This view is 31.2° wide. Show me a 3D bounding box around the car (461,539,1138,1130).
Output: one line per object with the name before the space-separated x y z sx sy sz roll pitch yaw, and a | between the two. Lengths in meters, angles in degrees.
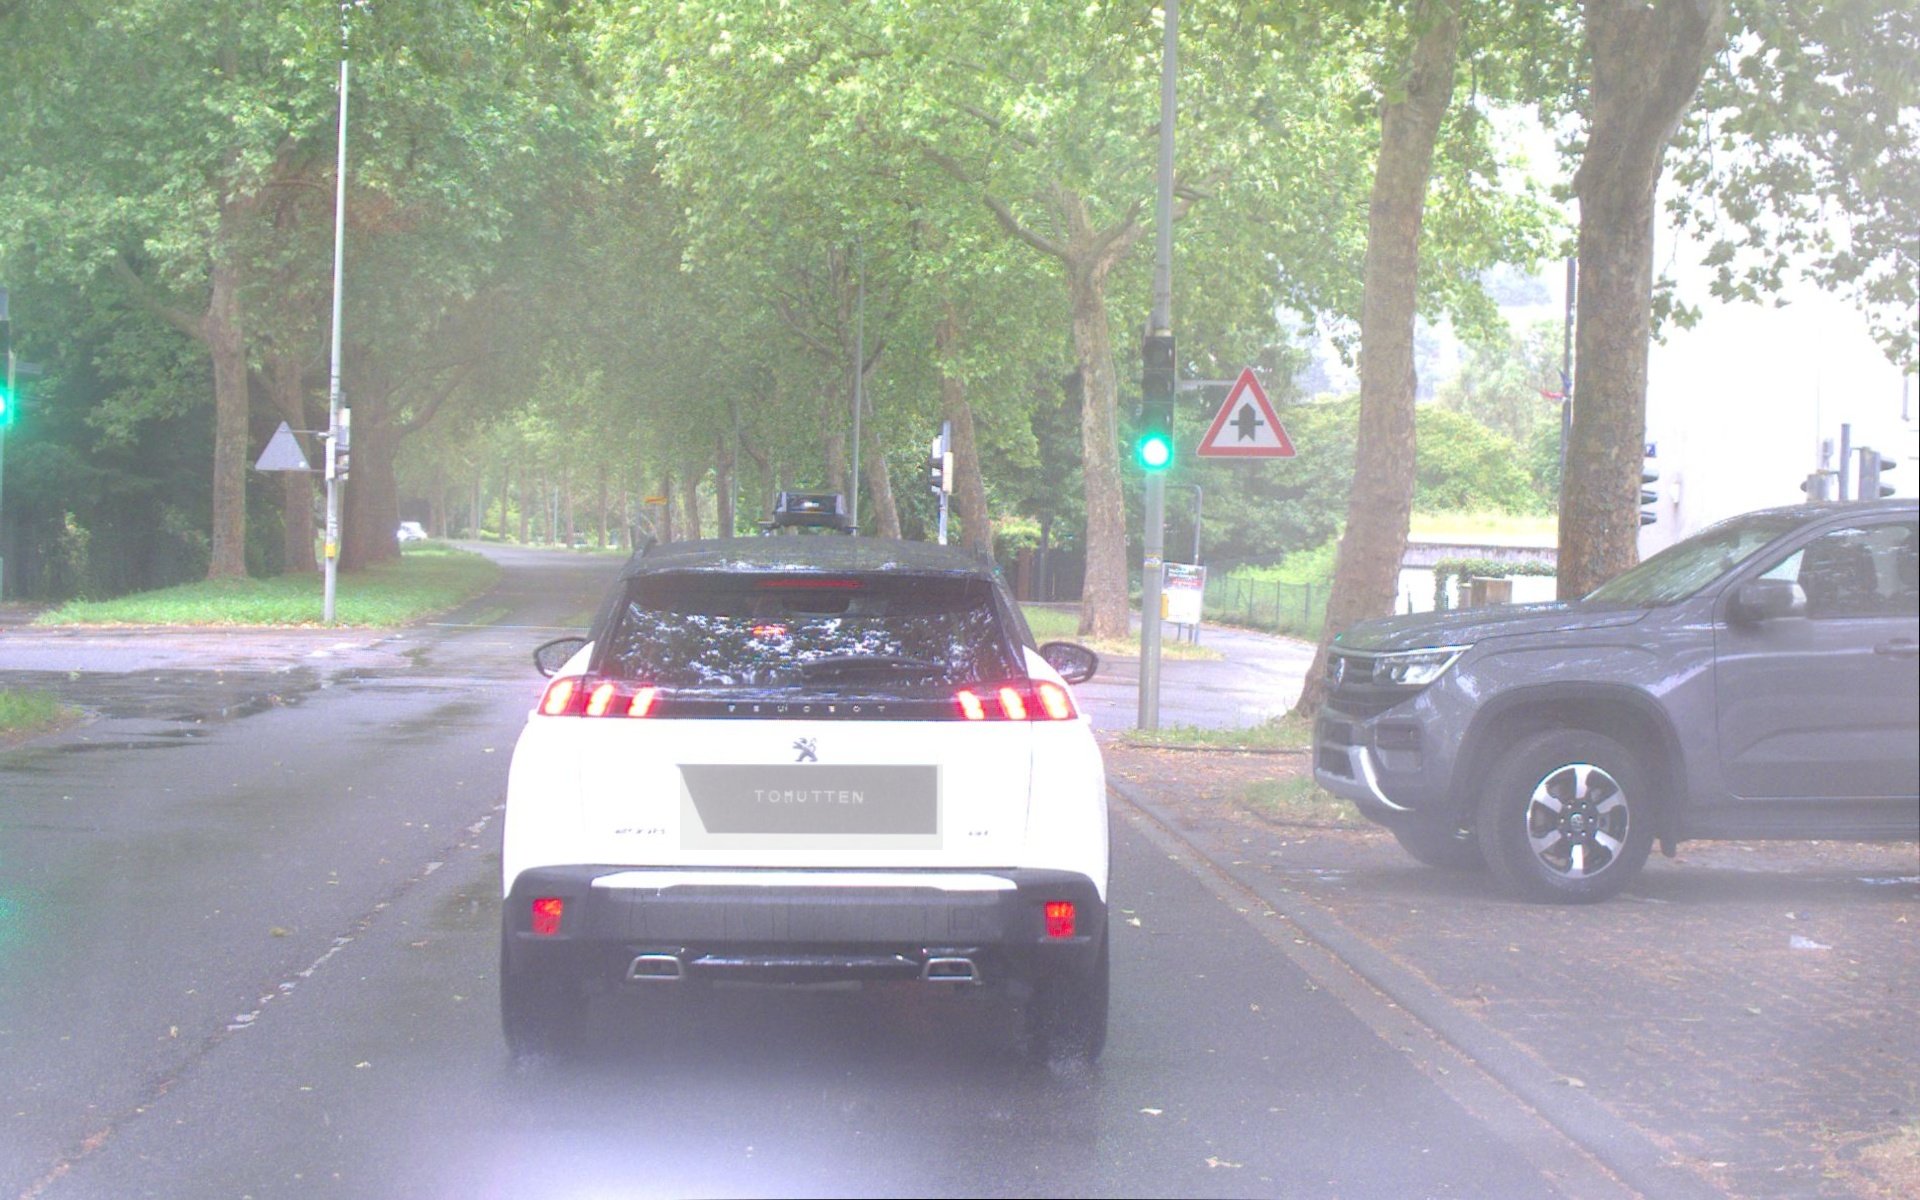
car | -0.465 0.594 11.213 1.780 1.531 4.058 1 1 -1

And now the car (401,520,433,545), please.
car | -37.722 -4.675 238.941 1.873 1.671 3.709 2 1 -5

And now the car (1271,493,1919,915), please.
car | 4.278 0.460 15.963 5.337 1.800 1.846 1 1 -7

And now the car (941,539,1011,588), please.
car | 0.503 -1.189 111.708 1.905 1.504 3.932 2 1 -5
